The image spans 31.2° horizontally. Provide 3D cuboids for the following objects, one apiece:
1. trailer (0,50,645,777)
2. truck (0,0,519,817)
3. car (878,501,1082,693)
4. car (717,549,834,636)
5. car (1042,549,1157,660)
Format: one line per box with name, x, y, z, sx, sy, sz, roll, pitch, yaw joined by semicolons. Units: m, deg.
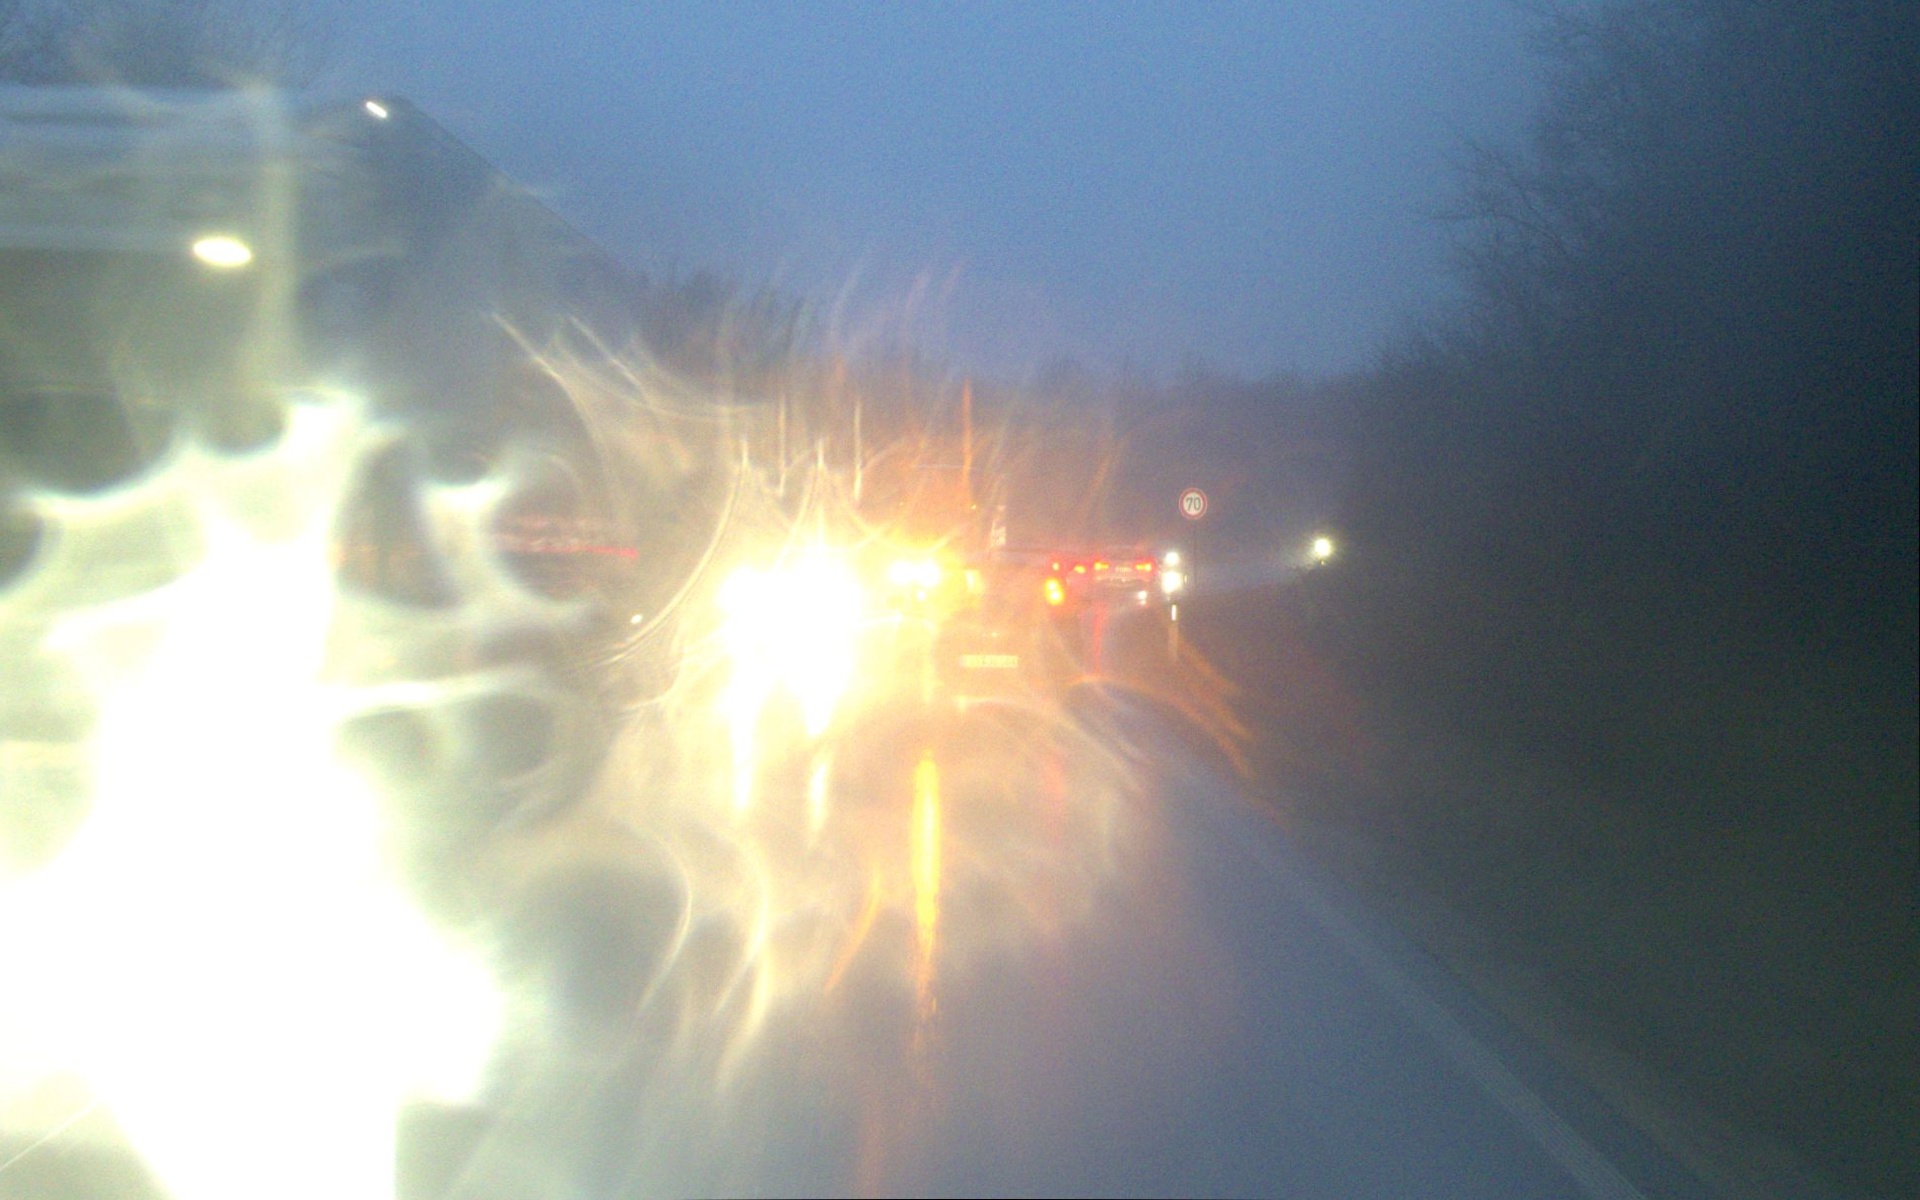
trailer;-4.446;-1.210;26.170;2.778;4.075;13.517;-1;1;0
truck;-4.537;-1.096;20.194;2.799;4.112;7.200;-1;1;1
car;0.127;-0.072;31.681;1.727;1.637;4.001;-1;1;-2
car;-3.356;-0.165;63.221;1.745;1.468;4.483;2;1;2
car;2.701;0.054;65.801;1.994;2.007;4.000;-1;1;5
